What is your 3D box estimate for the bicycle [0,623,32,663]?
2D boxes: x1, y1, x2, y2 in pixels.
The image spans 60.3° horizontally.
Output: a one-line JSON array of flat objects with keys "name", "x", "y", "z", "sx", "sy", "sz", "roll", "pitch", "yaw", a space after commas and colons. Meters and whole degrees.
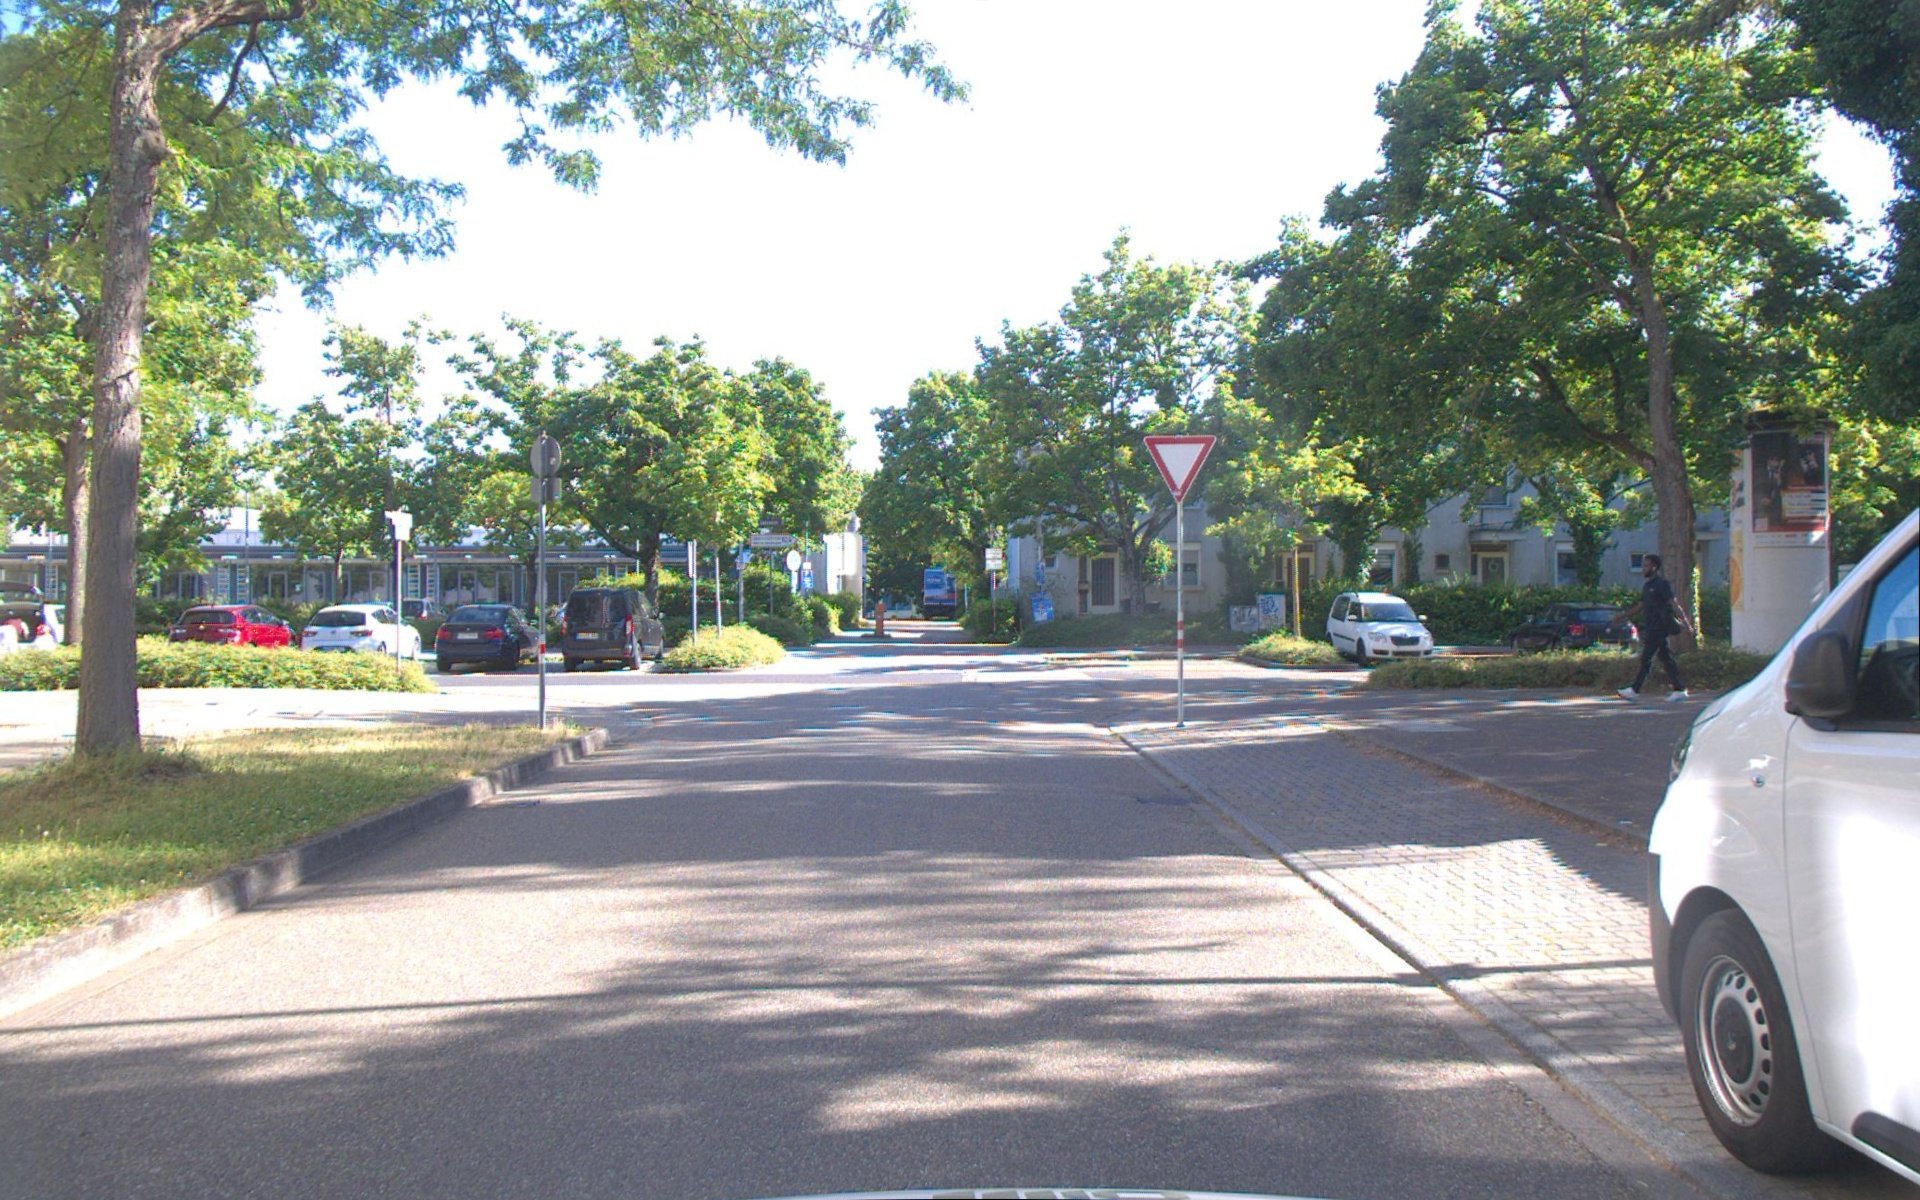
[{"name": "bicycle", "x": -24.884, "y": 1.084, "z": 42.243, "sx": 2.039, "sy": 1.013, "sz": 0.596, "roll": 1, "pitch": 0, "yaw": 0}]

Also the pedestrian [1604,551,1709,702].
[{"name": "pedestrian", "x": 8.158, "y": 0.291, "z": 19.383, "sx": 0.797, "sy": 1.714, "sz": 0.829, "roll": -1, "pitch": 1, "yaw": -31}]

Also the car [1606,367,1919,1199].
[{"name": "car", "x": 2.998, "y": 0.462, "z": 2.691, "sx": 1.859, "sy": 1.947, "sz": 5.148, "roll": -1, "pitch": 0, "yaw": 0}]

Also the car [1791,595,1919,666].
[{"name": "car", "x": 21.256, "y": 0.658, "z": 38.336, "sx": 1.786, "sy": 1.430, "sz": 4.167, "roll": -1, "pitch": 1, "yaw": -2}]

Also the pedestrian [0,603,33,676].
[{"name": "pedestrian", "x": -21.067, "y": 0.865, "z": 36.559, "sx": 0.659, "sy": 1.607, "sz": 0.766, "roll": 0, "pitch": 0, "yaw": 27}]

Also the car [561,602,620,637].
[{"name": "car", "x": -17.272, "y": 0.902, "z": 77.496, "sx": 1.798, "sy": 1.524, "sz": 3.908, "roll": 0, "pitch": 1, "yaw": 1}]

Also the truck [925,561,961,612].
[{"name": "truck", "x": -1.338, "y": -1.092, "z": 133.352, "sx": 2.703, "sy": 3.937, "sz": 9.329, "roll": 1, "pitch": 0, "yaw": 0}]

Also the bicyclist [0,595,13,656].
[{"name": "bicyclist", "x": -24.862, "y": 0.638, "z": 42.240, "sx": 0.990, "sy": 1.550, "sz": 0.596, "roll": 1, "pitch": 0, "yaw": 0}]

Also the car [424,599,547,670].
[{"name": "car", "x": -10.891, "y": 0.761, "z": 38.266, "sx": 1.786, "sy": 1.430, "sz": 4.167, "roll": -1, "pitch": 1, "yaw": -2}]

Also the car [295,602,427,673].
[{"name": "car", "x": -13.801, "y": 0.821, "z": 38.309, "sx": 1.766, "sy": 1.461, "sz": 3.911, "roll": 0, "pitch": 1, "yaw": -3}]

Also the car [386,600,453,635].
[{"name": "car", "x": -25.331, "y": 0.803, "z": 77.650, "sx": 1.798, "sy": 1.524, "sz": 3.908, "roll": 0, "pitch": 1, "yaw": 1}]

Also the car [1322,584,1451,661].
[{"name": "car", "x": 9.879, "y": 0.486, "z": 38.649, "sx": 1.786, "sy": 1.625, "sz": 4.167, "roll": -1, "pitch": 1, "yaw": -2}]

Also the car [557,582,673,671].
[{"name": "car", "x": -7.958, "y": 0.552, "z": 38.474, "sx": 1.836, "sy": 1.879, "sz": 4.168, "roll": -1, "pitch": 1, "yaw": -1}]

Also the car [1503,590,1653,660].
[{"name": "car", "x": 14.298, "y": 0.545, "z": 38.515, "sx": 1.786, "sy": 1.430, "sz": 4.167, "roll": -1, "pitch": 1, "yaw": -2}]

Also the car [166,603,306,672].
[{"name": "car", "x": -16.598, "y": 0.830, "z": 38.128, "sx": 1.634, "sy": 1.451, "sz": 3.910, "roll": 1, "pitch": 0, "yaw": -3}]

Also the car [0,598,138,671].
[{"name": "car", "x": -21.094, "y": 0.775, "z": 38.926, "sx": 1.640, "sy": 1.605, "sz": 3.910, "roll": 1, "pitch": 0, "yaw": -3}]

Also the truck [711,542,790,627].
[{"name": "truck", "x": -9.987, "y": -0.729, "z": 79.553, "sx": 2.745, "sy": 3.873, "sz": 6.925, "roll": 1, "pitch": 0, "yaw": 1}]
